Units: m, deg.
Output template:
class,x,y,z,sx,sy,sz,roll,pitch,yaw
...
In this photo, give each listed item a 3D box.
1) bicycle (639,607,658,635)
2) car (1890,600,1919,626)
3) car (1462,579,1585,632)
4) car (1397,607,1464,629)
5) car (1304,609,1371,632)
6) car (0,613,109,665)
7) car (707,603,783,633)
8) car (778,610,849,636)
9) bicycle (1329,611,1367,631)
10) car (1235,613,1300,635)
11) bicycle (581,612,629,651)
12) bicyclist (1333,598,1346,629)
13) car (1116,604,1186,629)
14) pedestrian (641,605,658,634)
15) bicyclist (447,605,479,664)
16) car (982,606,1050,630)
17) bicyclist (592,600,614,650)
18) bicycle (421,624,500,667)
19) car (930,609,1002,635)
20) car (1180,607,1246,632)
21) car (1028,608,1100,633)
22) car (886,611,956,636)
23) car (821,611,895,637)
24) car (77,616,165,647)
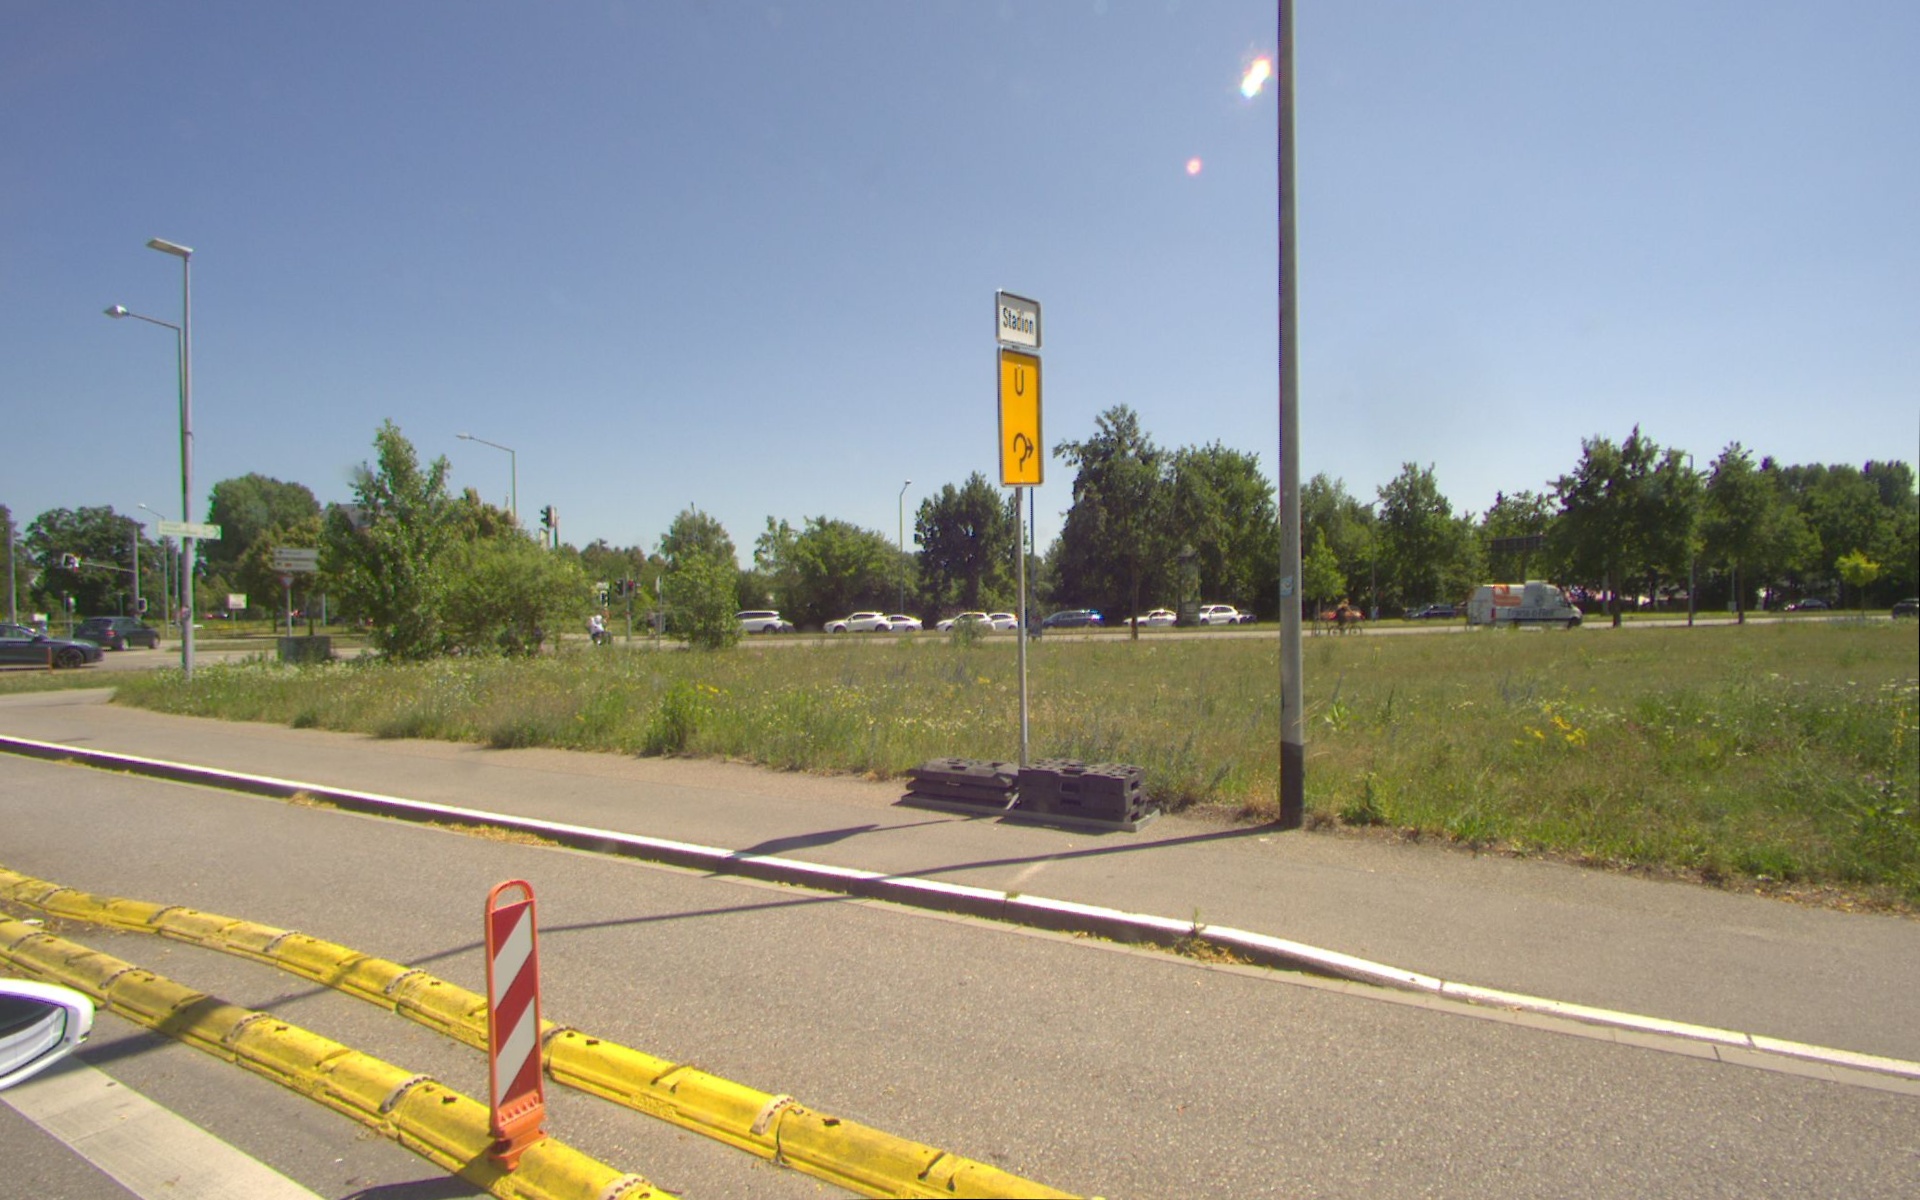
class,x,y,z,sx,sy,sz,roll,pitch,yaw
bicycle,-18.376,1.264,59.102,0.967,1.617,2.879,0,-2,-16
car,62.990,0.863,65.393,3.933,1.573,1.722,1,1,-21
car,31.930,0.374,56.756,6.764,2.864,1.997,0,-1,-18
car,35.215,1.353,74.948,4.366,1.612,1.846,0,-2,-16
car,27.593,1.514,73.256,4.337,1.612,1.846,0,-2,-16
car,-28.880,1.162,30.223,2.043,1.500,4.516,0,0,34
car,-13.014,1.113,60.522,4.366,1.758,1.846,0,-2,-16
car,-9.508,1.514,64.905,4.366,1.612,1.846,0,-2,-16
bicycle,16.862,0.918,43.536,1.564,0.895,0.369,0,-1,-10
car,22.940,1.796,74.703,4.366,1.612,1.846,0,-2,-16
bicycle,-13.177,1.181,37.267,0.628,1.370,2.896,0,-2,4
bicyclist,16.475,0.603,43.461,0.349,1.336,0.379,0,-1,-9
car,13.043,1.144,68.534,4.366,1.612,1.846,0,-2,-16
pedestrian,-18.323,1.135,59.119,0.954,1.681,0.885,0,-1,-16
bicyclist,-15.175,1.043,30.559,0.584,1.776,0.668,1,2,34
car,3.850,1.217,69.158,4.365,1.613,1.845,0,0,-16
bicyclist,-13.311,0.925,37.353,0.597,1.864,0.572,0,-1,2
bicycle,-15.196,1.357,30.513,0.625,1.237,2.086,0,0,34
car,0.383,1.452,64.874,4.366,1.612,1.846,0,-2,-16
car,16.958,1.316,67.151,4.385,1.612,1.838,1,-2,-33
car,6.896,1.371,66.568,4.366,1.612,1.846,0,-2,-16
car,-2.597,1.569,66.875,4.366,1.612,1.846,0,-2,-16
car,-6.422,1.506,62.854,4.366,1.612,1.846,0,-2,-16
car,-36.091,1.362,43.185,1.411,1.275,3.217,0,-2,-8
